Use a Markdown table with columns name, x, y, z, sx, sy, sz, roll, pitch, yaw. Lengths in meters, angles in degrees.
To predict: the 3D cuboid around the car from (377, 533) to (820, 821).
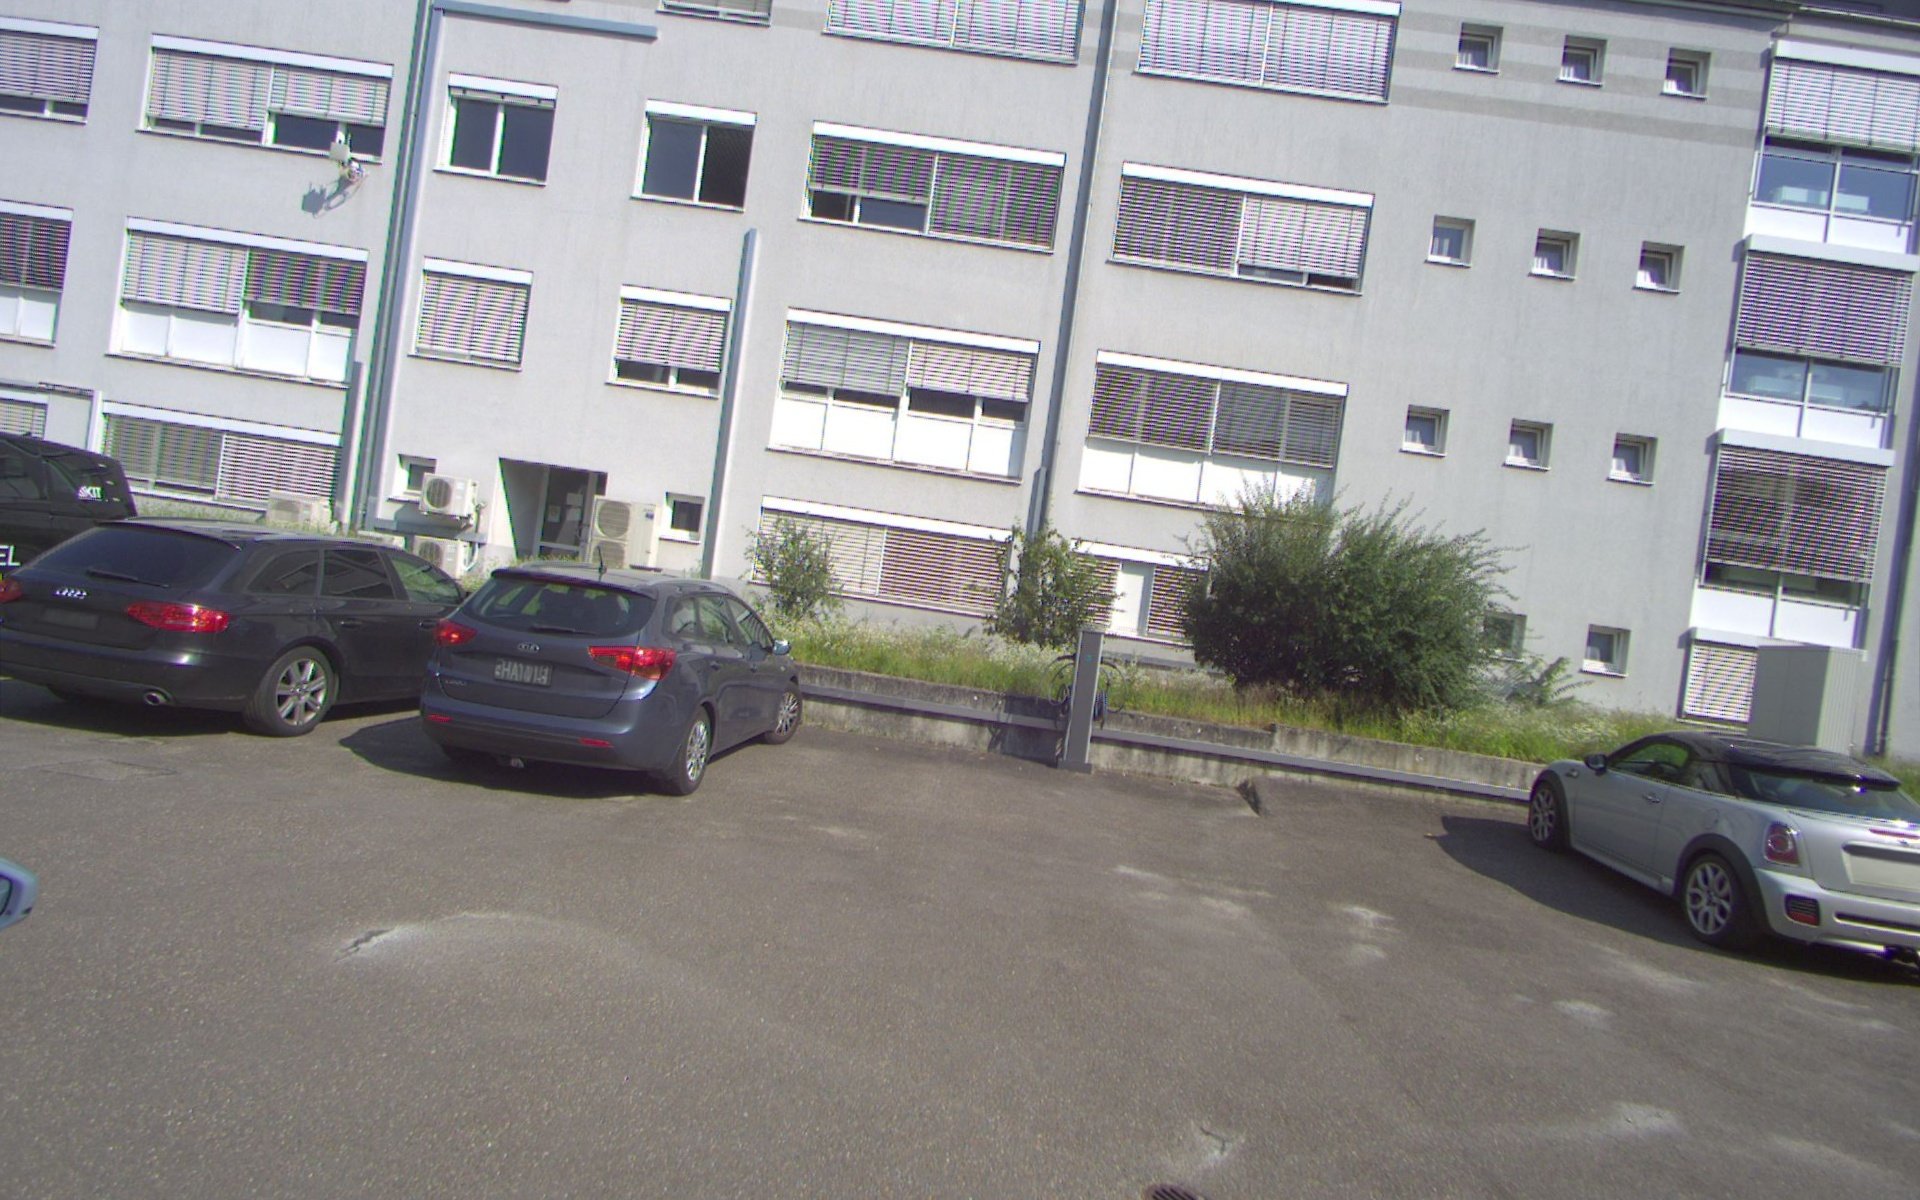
| name | x | y | z | sx | sy | sz | roll | pitch | yaw |
| --- | --- | --- | --- | --- | --- | --- | --- | --- | --- |
| car | -2.483 | 0.498 | 8.109 | 1.710 | 1.495 | 4.061 | 8 | 0 | 4 |

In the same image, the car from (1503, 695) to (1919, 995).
| name | x | y | z | sx | sy | sz | roll | pitch | yaw |
| --- | --- | --- | --- | --- | --- | --- | --- | --- | --- |
| car | 6.014 | 1.715 | 7.922 | 1.628 | 1.455 | 3.584 | 8 | 0 | 6 |

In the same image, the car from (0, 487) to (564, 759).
| name | x | y | z | sx | sy | sz | roll | pitch | yaw |
| --- | --- | --- | --- | --- | --- | --- | --- | --- | --- |
| car | -5.205 | 0.173 | 8.261 | 1.658 | 1.454 | 4.249 | 8 | 0 | 7 |

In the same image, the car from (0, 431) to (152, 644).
| name | x | y | z | sx | sy | sz | roll | pitch | yaw |
| --- | --- | --- | --- | --- | --- | --- | --- | --- | --- |
| car | -9.393 | -0.683 | 8.244 | 1.880 | 1.881 | 4.348 | 8 | 0 | -1 |
